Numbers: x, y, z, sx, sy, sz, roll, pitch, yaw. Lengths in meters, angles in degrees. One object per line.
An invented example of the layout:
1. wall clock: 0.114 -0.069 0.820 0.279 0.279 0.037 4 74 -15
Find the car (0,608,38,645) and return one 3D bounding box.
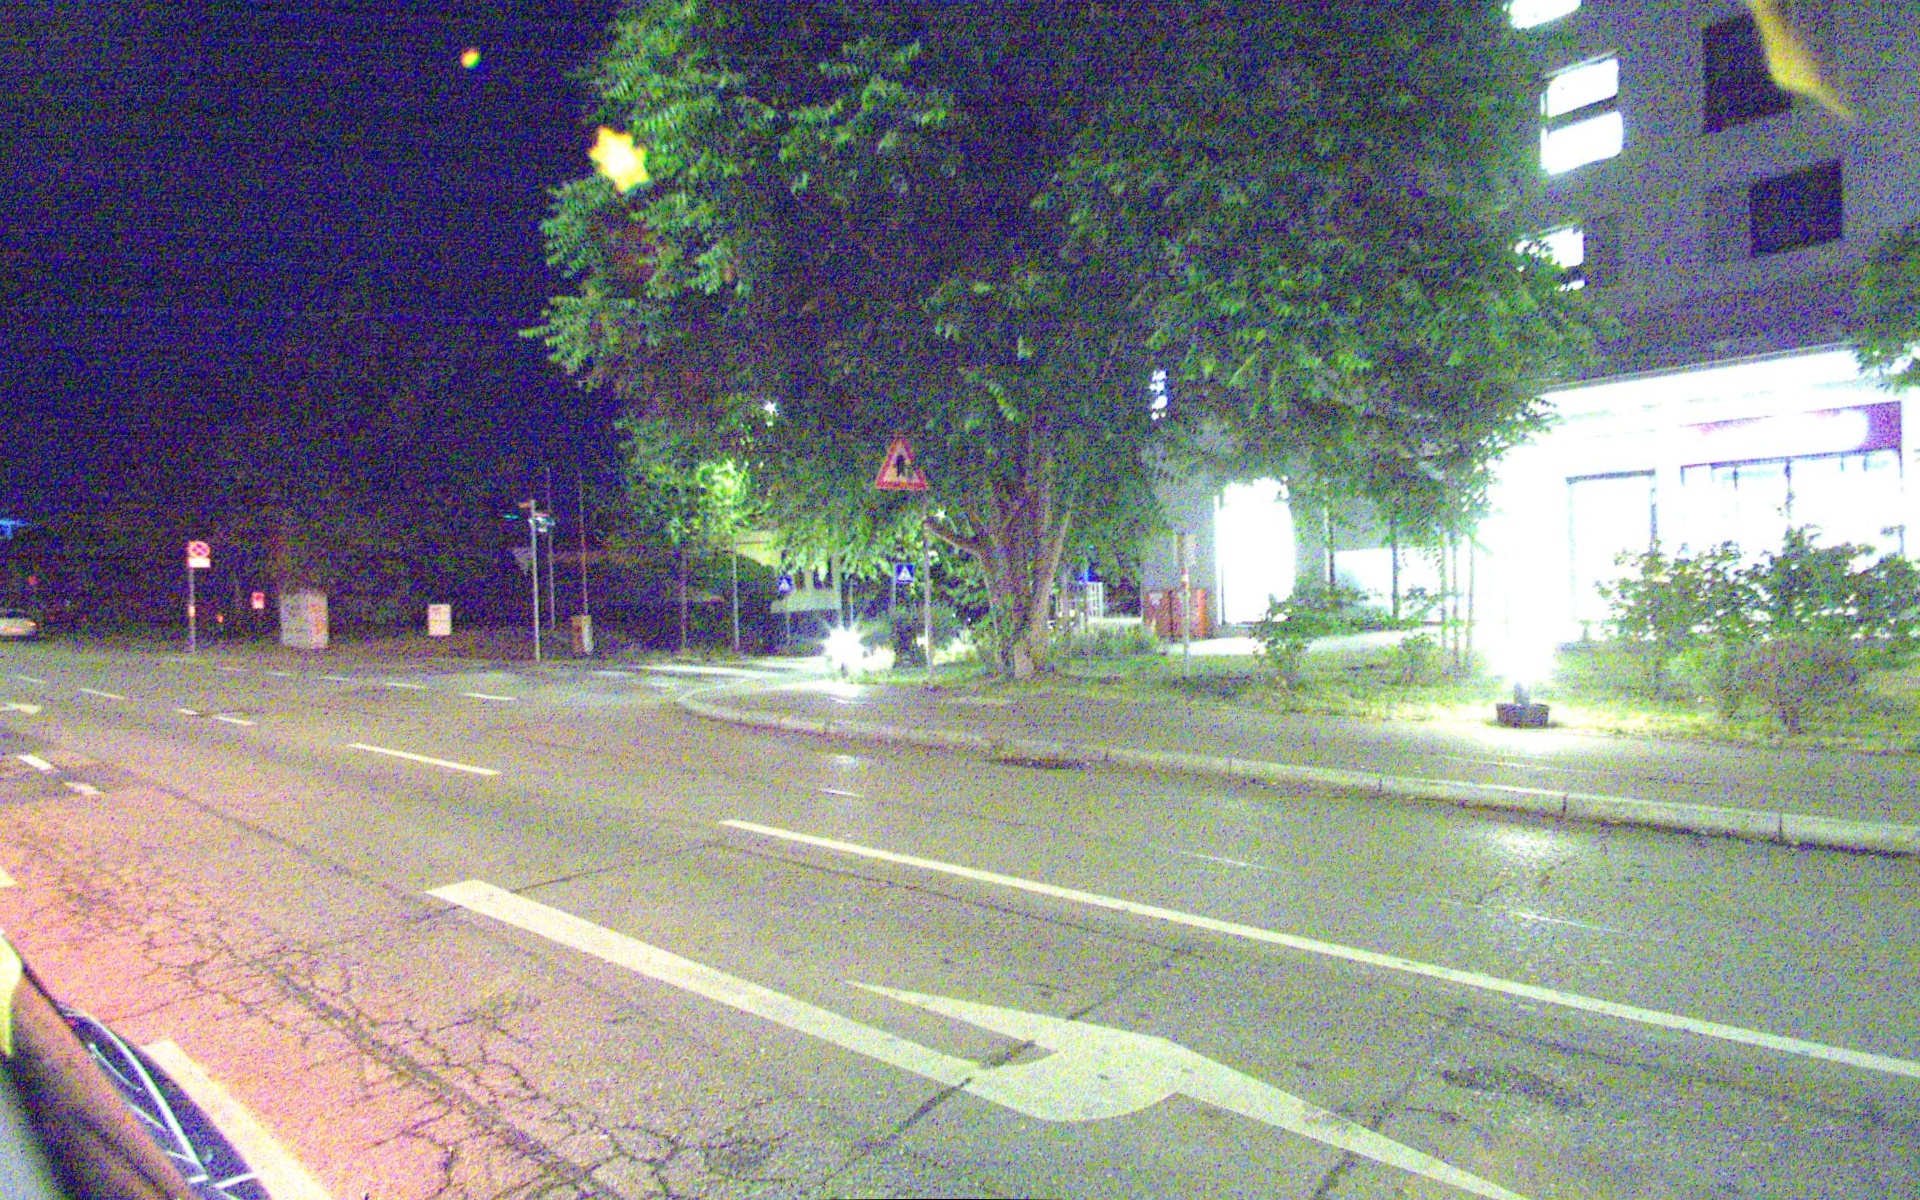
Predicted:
1. car: -43.211 1.178 45.720 3.998 1.464 1.887 1 2 41
